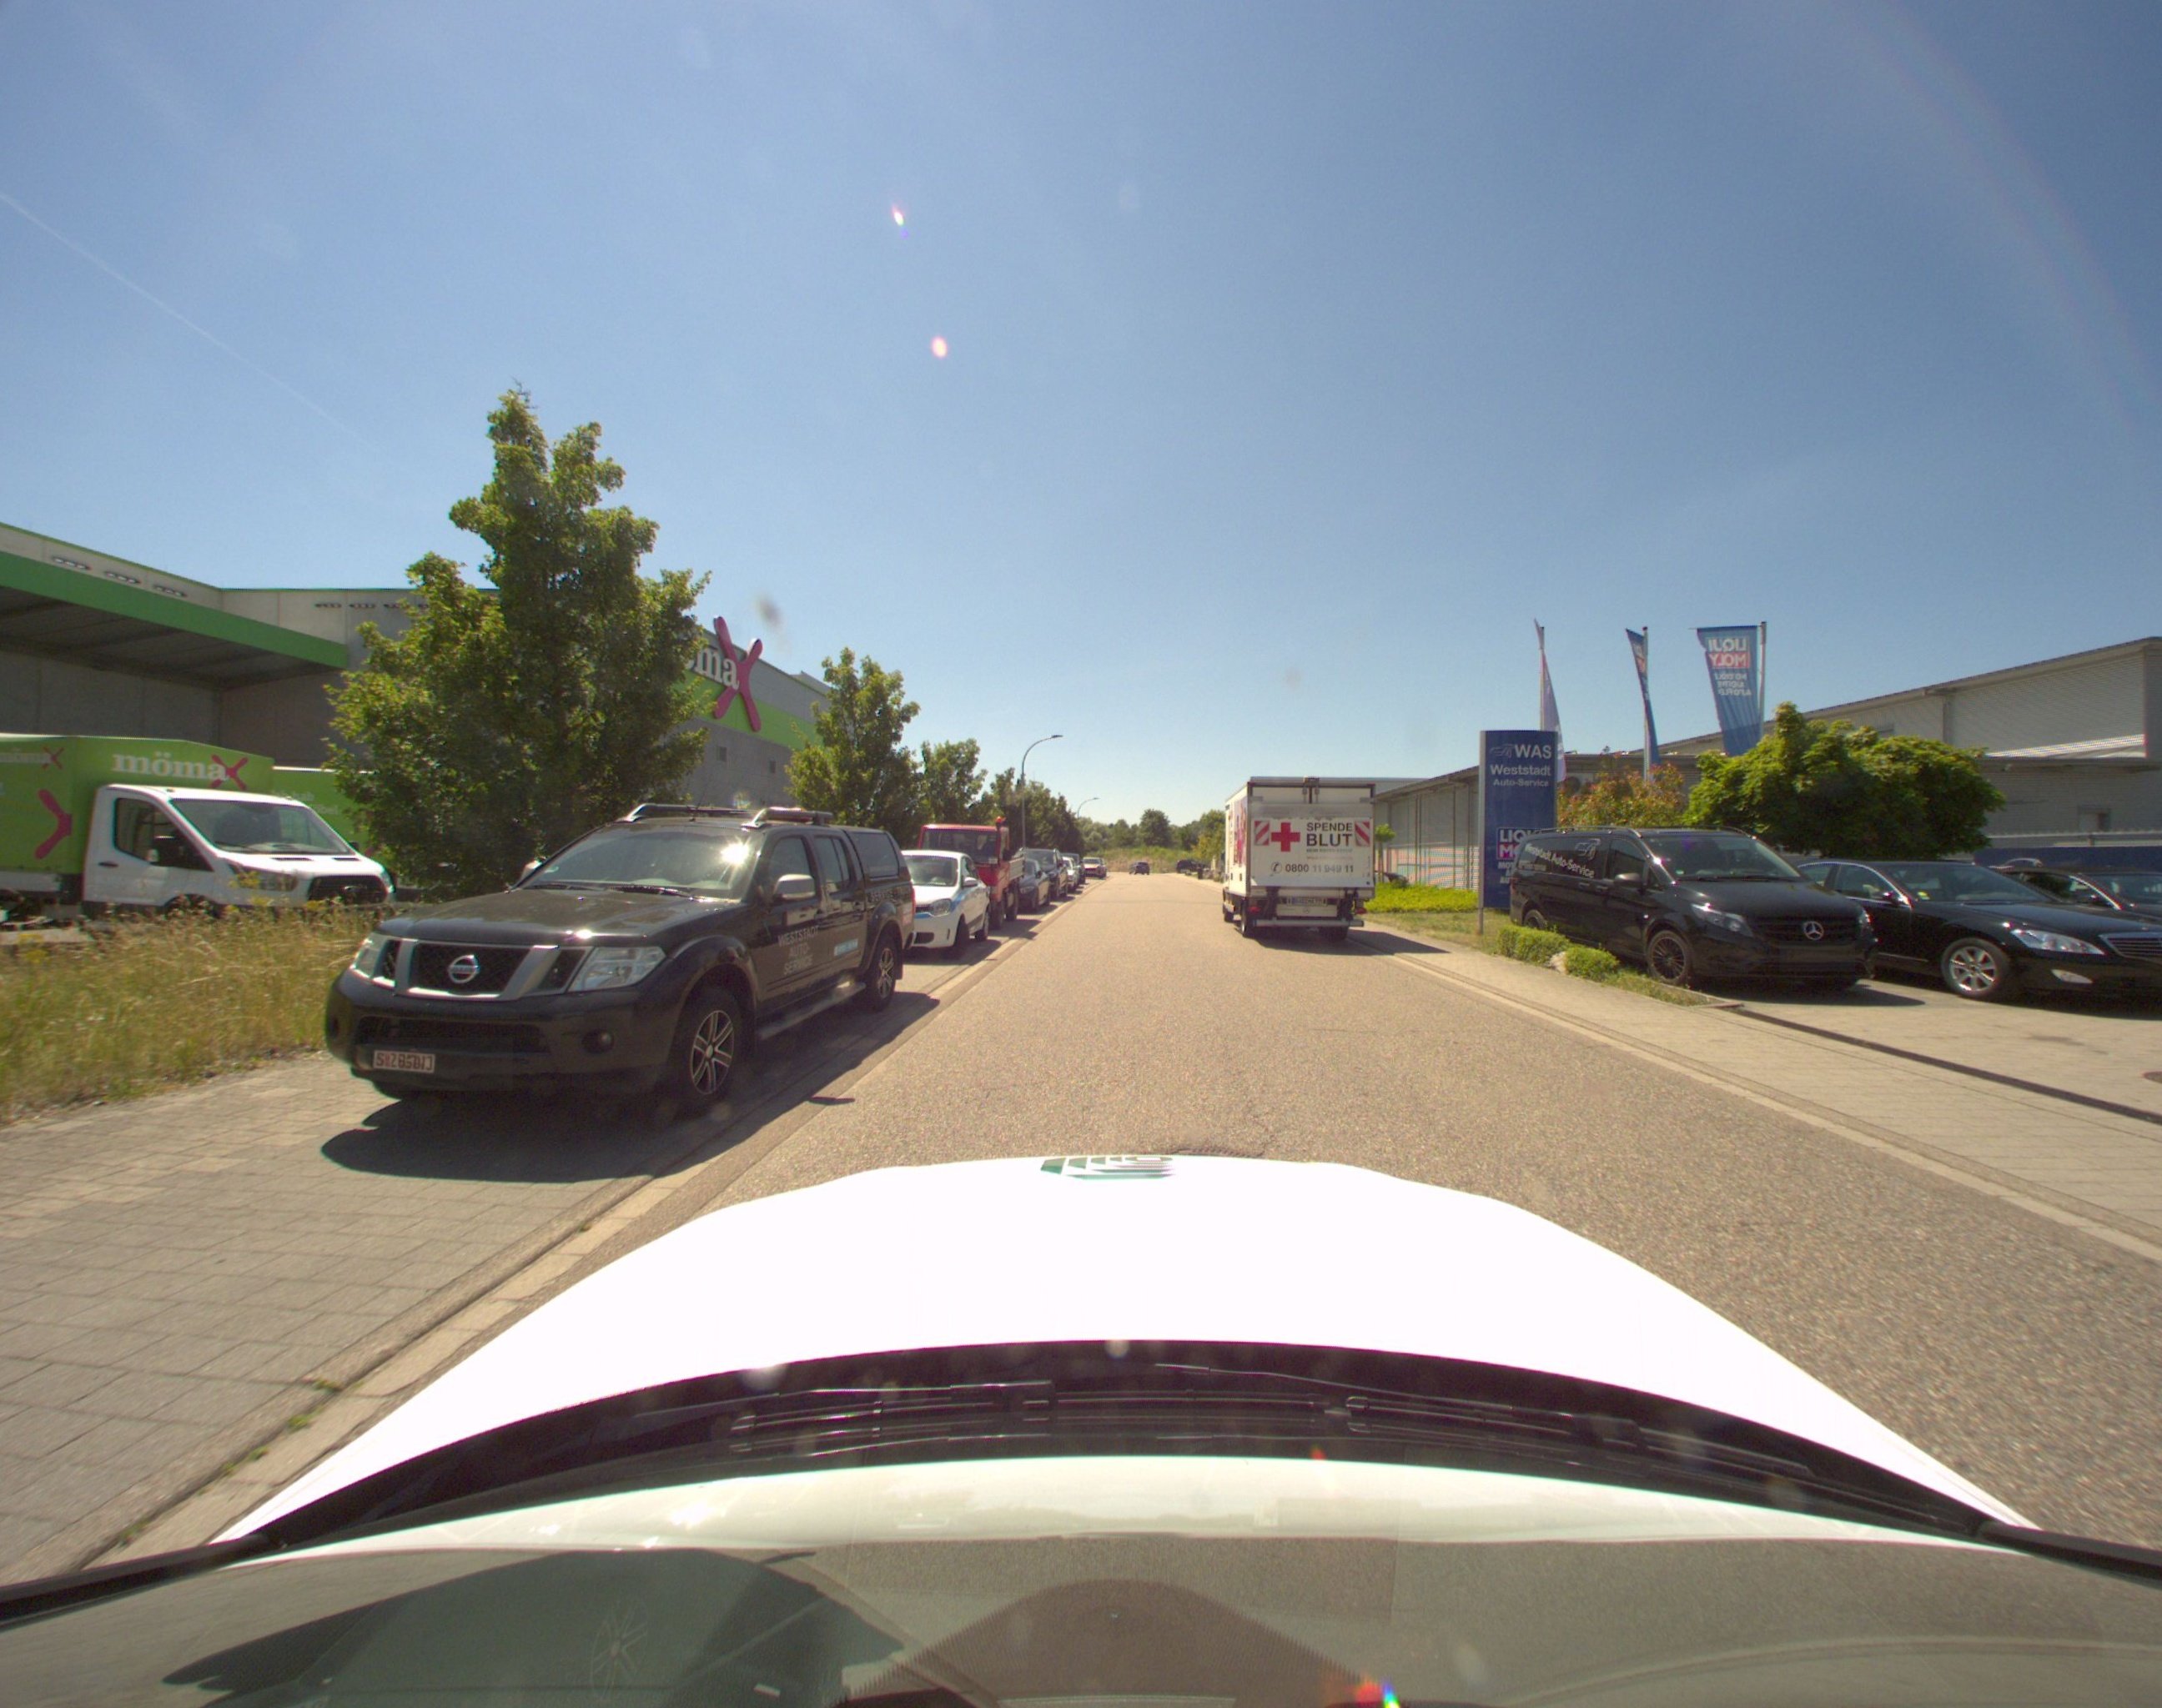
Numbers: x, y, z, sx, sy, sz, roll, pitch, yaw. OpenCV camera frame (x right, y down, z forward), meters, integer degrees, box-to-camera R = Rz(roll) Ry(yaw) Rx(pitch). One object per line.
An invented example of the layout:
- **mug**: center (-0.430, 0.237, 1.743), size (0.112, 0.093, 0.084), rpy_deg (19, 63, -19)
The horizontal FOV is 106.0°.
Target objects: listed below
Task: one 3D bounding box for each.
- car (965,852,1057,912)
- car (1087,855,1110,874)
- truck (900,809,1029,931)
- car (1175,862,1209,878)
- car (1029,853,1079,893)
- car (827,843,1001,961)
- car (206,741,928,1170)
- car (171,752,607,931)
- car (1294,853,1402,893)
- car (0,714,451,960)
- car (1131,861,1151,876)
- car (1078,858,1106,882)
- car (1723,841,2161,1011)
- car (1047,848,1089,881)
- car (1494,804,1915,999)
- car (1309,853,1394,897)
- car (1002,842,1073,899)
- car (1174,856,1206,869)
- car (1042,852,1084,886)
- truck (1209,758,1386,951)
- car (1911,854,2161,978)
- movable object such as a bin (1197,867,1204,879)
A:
- **car**: center (-1.830, 0.726, 22.940), size (1.843, 1.443, 4.758), rpy_deg (2, 0, 3)
- **car**: center (1.626, 0.926, 74.931), size (1.904, 1.655, 4.759), rpy_deg (1, 0, 3)
- **truck**: center (-2.348, 0.312, 17.701), size (1.844, 2.222, 4.649), rpy_deg (2, 0, 3)
- **car**: center (13.631, 1.961, 100.088), size (3.994, 1.655, 1.859), rpy_deg (-4, -1, 2)
- **car**: center (-1.063, 0.746, 34.502), size (1.845, 1.519, 4.905), rpy_deg (2, 0, 1)
- **car**: center (-2.470, 0.661, 13.031), size (1.844, 1.551, 3.768), rpy_deg (2, 0, 1)
- **car**: center (-2.906, 0.469, 6.472), size (1.965, 1.901, 5.407), rpy_deg (2, 0, 3)
- **car**: center (-12.594, -0.219, 15.180), size (5.950, 2.926, 2.523), rpy_deg (1, 0, 2)
- **car**: center (10.432, 0.729, 32.042), size (3.675, 1.541, 1.915), rpy_deg (0, -1, 4)
- **car**: center (-12.439, -0.238, 10.934), size (5.950, 2.824, 2.523), rpy_deg (1, 0, 2)
- **car**: center (7.107, 1.671, 96.588), size (1.907, 1.713, 4.028), rpy_deg (1, 0, -2)
- **car**: center (0.911, 1.178, 63.247), size (1.904, 1.713, 4.416), rpy_deg (2, 0, 3)
- **car**: center (10.290, 0.626, 9.659), size (1.984, 1.536, 4.596), rpy_deg (0, 1, 4)
- **car**: center (-0.694, 0.593, 47.085), size (1.983, 1.713, 5.012), rpy_deg (2, 0, 4)
- **car**: center (7.815, 0.498, 11.129), size (1.984, 2.014, 5.342), rpy_deg (0, 0, 4)
- **car**: center (9.792, 0.758, 29.621), size (2.693, 1.541, 1.414), rpy_deg (0, -1, 4)
- **car**: center (-1.435, 0.546, 28.973), size (1.843, 1.758, 4.992), rpy_deg (2, 0, 4)
- **car**: center (14.391, 1.117, 107.285), size (3.994, 1.462, 1.893), rpy_deg (-2, -1, 2)
- **car**: center (-0.814, 0.726, 40.471), size (1.845, 1.519, 5.167), rpy_deg (2, 0, 1)
- **truck**: center (4.189, 0.011, 17.199), size (2.445, 3.205, 6.892), rpy_deg (1, 0, 5)
- **car**: center (13.305, 0.720, 10.206), size (1.794, 1.370, 4.120), rpy_deg (0, 1, 4)
- **movable object such as a bin**: center (9.589, 1.508, 65.346), size (0.556, 0.946, 0.539), rpy_deg (0, -1, 2)
